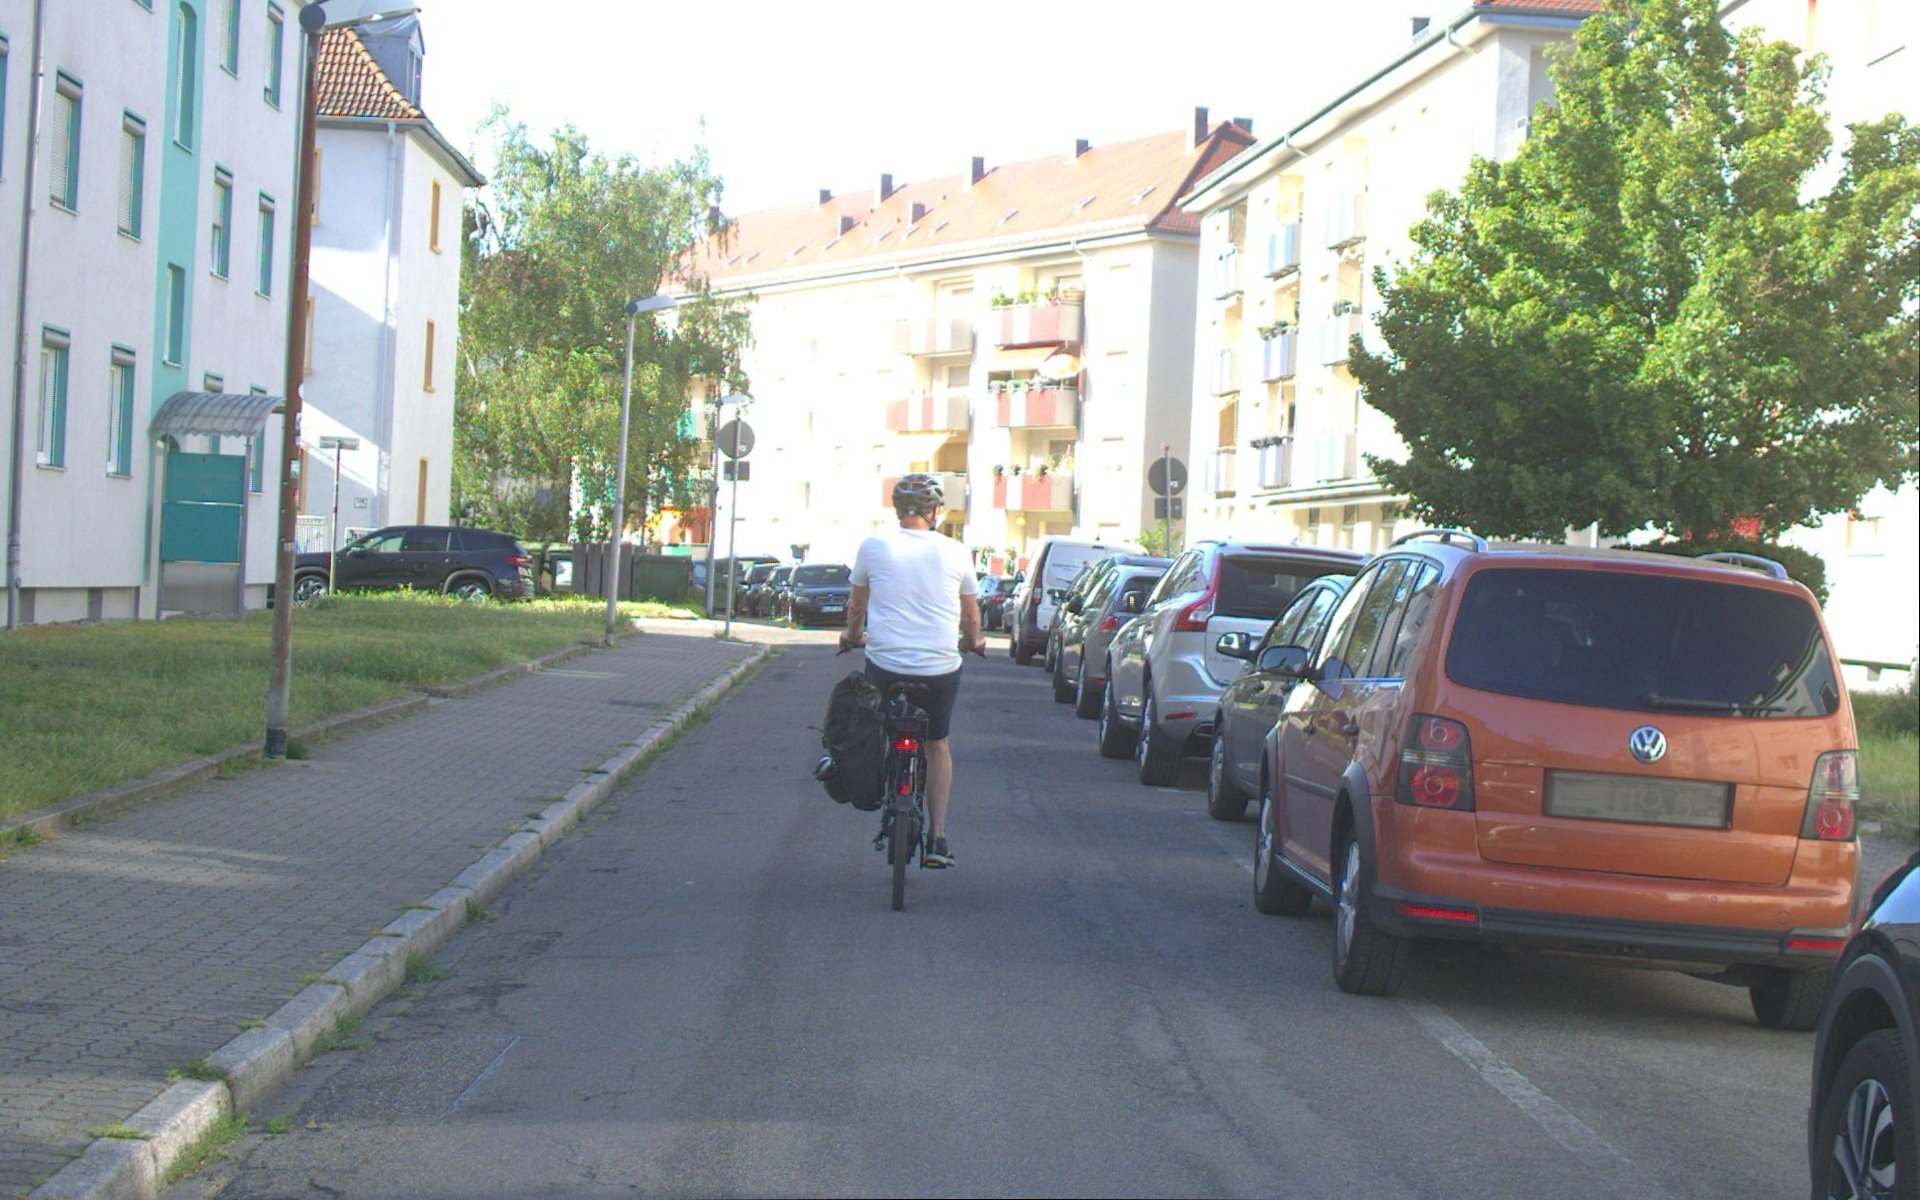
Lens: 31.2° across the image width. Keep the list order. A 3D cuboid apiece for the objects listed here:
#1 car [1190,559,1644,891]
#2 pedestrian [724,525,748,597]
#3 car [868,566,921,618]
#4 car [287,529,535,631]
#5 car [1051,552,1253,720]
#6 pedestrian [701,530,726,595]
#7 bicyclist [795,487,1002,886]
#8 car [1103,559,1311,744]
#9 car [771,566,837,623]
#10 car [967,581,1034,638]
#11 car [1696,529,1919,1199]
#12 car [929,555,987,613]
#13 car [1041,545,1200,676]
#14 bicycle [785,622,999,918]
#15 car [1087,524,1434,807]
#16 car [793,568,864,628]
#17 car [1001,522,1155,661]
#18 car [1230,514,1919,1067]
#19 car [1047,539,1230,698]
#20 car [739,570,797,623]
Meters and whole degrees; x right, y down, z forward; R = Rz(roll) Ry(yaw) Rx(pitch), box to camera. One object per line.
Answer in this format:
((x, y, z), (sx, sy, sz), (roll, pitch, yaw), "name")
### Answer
((2.360, 0.590, 18.693), (1.617, 1.455, 3.842), (5, 1, -4), "car")
((-4.978, -0.865, 76.409), (0.434, 1.569, 0.543), (3, 1, -1), "pedestrian")
((-2.096, -0.277, 109.466), (1.469, 1.511, 3.077), (4, 1, -3), "car")
((-9.783, -0.364, 61.478), (4.230, 1.633, 1.583), (2, 1, -5), "car")
((1.790, 0.302, 33.071), (1.559, 1.406, 3.934), (4, 1, -1), "car")
((-5.479, -0.838, 76.382), (0.434, 1.422, 0.543), (4, 1, -1), "pedestrian")
((-0.277, 0.353, 14.756), (0.808, 1.638, 0.899), (2, 1, -3), "bicyclist")
((2.052, 0.397, 29.219), (1.391, 1.398, 3.244), (3, 1, -1), "car")
((-3.852, -0.145, 84.683), (1.469, 1.331, 3.141), (-1, 1, -5), "car")
((1.048, 0.227, 89.936), (1.469, 1.331, 3.141), (4, 1, -3), "car")
((2.634, 0.754, 5.576), (1.712, 1.590, 4.398), (5, 1, -2), "car")
((-0.081, -0.465, 96.901), (1.381, 1.492, 3.077), (4, 1, -3), "car")
((1.952, 0.104, 42.614), (1.558, 1.448, 3.367), (4, 1, -3), "car")
((-0.328, 0.692, 14.914), (0.808, 1.124, 2.102), (2, 1, -4), "bicycle")
((1.972, 0.370, 23.817), (1.700, 1.665, 4.380), (4, 1, -3), "car")
((-3.081, -0.053, 80.320), (1.469, 1.331, 3.141), (-1, 1, -6), "car")
((1.577, -0.151, 47.321), (1.674, 1.733, 3.943), (4, 1, -3), "car")
((2.238, 0.593, 13.252), (1.862, 1.662, 4.127), (4, 1, -1), "car")
((1.918, 0.163, 37.773), (1.558, 1.571, 3.367), (4, 1, -3), "car")
((-5.112, -0.100, 91.315), (1.469, 1.331, 3.141), (-1, 1, -4), "car")
